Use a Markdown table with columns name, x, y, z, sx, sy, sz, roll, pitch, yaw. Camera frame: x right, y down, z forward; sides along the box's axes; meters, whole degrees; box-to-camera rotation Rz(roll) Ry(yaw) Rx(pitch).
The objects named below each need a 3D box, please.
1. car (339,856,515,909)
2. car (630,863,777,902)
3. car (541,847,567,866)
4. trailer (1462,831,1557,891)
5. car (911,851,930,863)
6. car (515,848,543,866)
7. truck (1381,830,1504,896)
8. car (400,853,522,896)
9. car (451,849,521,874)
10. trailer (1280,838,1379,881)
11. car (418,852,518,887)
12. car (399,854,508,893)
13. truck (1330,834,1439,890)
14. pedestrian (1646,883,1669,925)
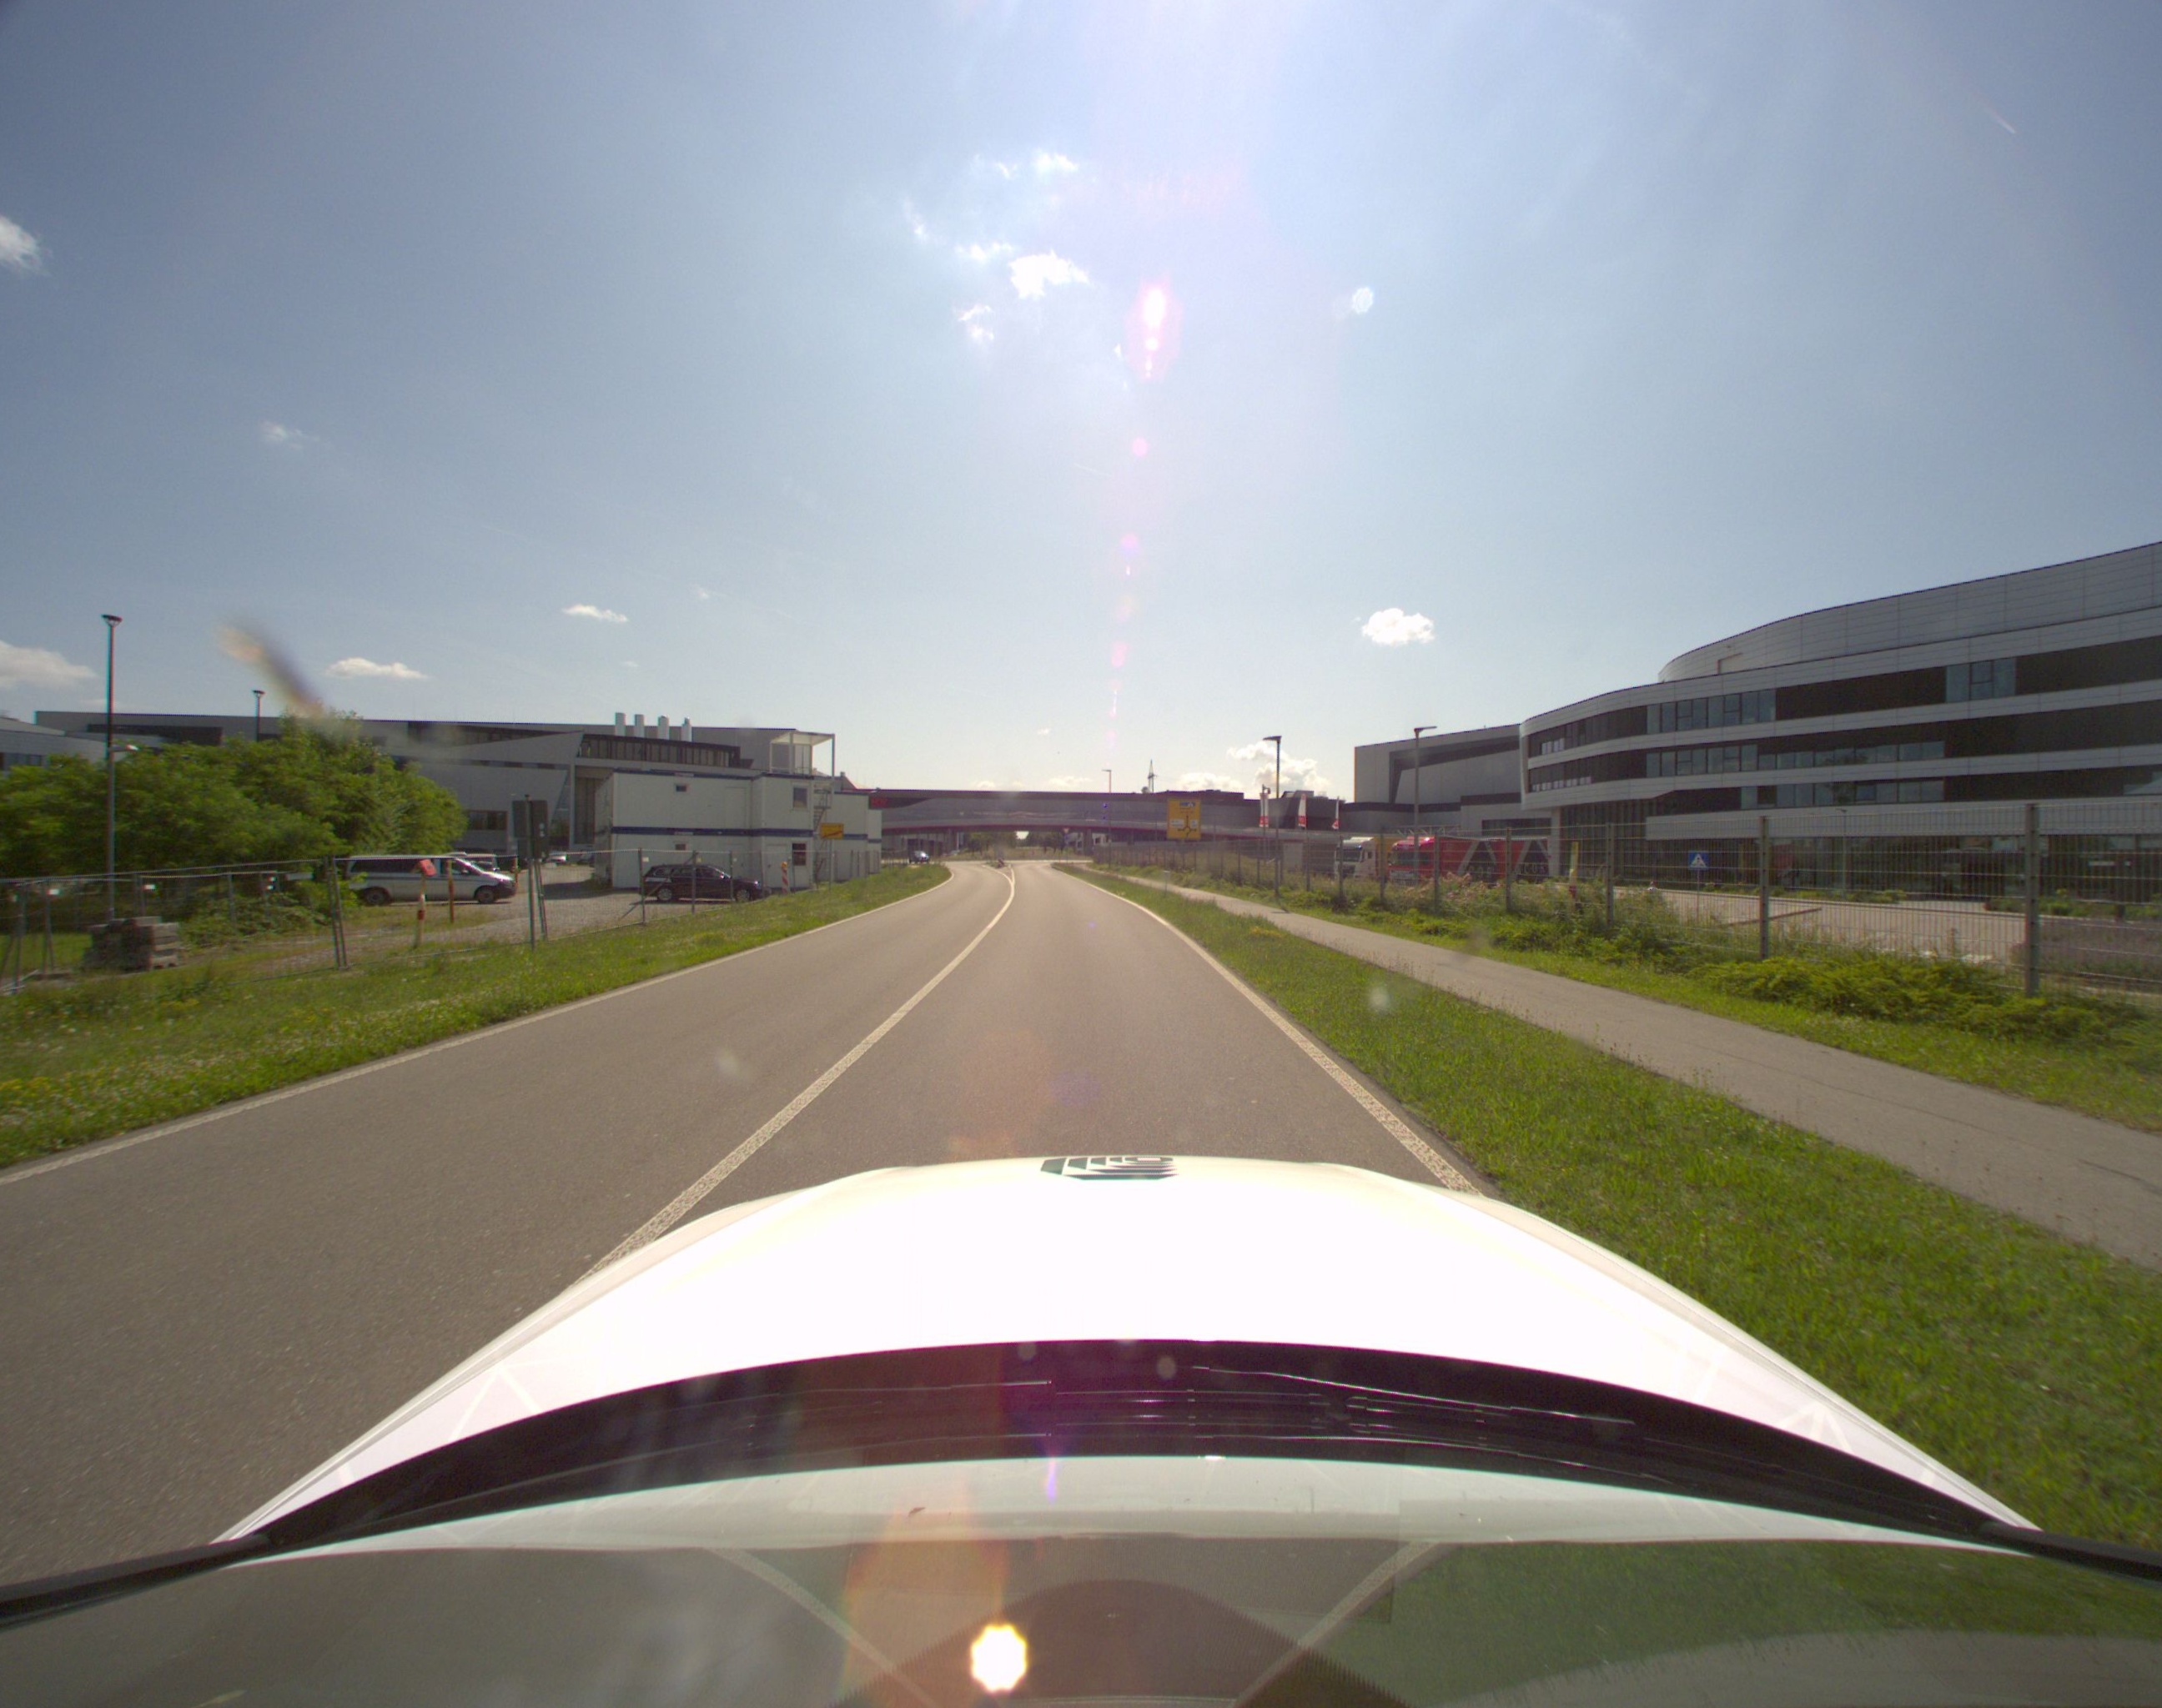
| name | x | y | z | sx | sy | sz | roll | pitch | yaw |
| --- | --- | --- | --- | --- | --- | --- | --- | --- | --- |
| car | -24.559 | 1.024 | 30.886 | 5.041 | 1.866 | 1.979 | 1 | 0 | -34 |
| car | -14.724 | 1.096 | 32.077 | 4.976 | 1.417 | 1.990 | 0 | 1 | -15 |
| car | -54.833 | 0.258 | 84.786 | 2.006 | 1.866 | 4.272 | 1 | 0 | -31 |
| trailer | 33.047 | 0.481 | 62.621 | 8.756 | 4.296 | 2.995 | -1 | -1 | -37 |
| car | -19.686 | 0.356 | 99.661 | 1.708 | 1.482 | 3.973 | -1 | 0 | -20 |
| car | -56.580 | 0.294 | 83.531 | 2.006 | 1.866 | 4.272 | 1 | 0 | -31 |
| truck | 25.271 | 0.546 | 56.561 | 11.026 | 4.256 | 2.994 | -1 | -1 | -38 |
| car | -28.588 | 0.901 | 37.743 | 4.331 | 1.866 | 1.979 | 1 | 0 | -34 |
| car | -46.839 | 0.575 | 64.133 | 4.336 | 1.866 | 1.977 | 1 | 0 | -40 |
| trailer | 27.153 | 0.531 | 88.237 | 14.131 | 4.438 | 2.734 | -1 | -1 | -39 |
| car | -35.162 | 0.872 | 46.759 | 4.339 | 1.866 | 1.975 | 1 | 0 | -45 |
| car | -32.434 | 0.979 | 42.279 | 4.331 | 1.948 | 1.979 | 1 | 0 | -34 |
| truck | 24.615 | 0.557 | 65.683 | 11.025 | 4.172 | 2.791 | -1 | -1 | -38 |
| pedestrian | 23.024 | 1.987 | 32.535 | 0.481 | 1.653 | 0.574 | 1 | 0 | -1 |
